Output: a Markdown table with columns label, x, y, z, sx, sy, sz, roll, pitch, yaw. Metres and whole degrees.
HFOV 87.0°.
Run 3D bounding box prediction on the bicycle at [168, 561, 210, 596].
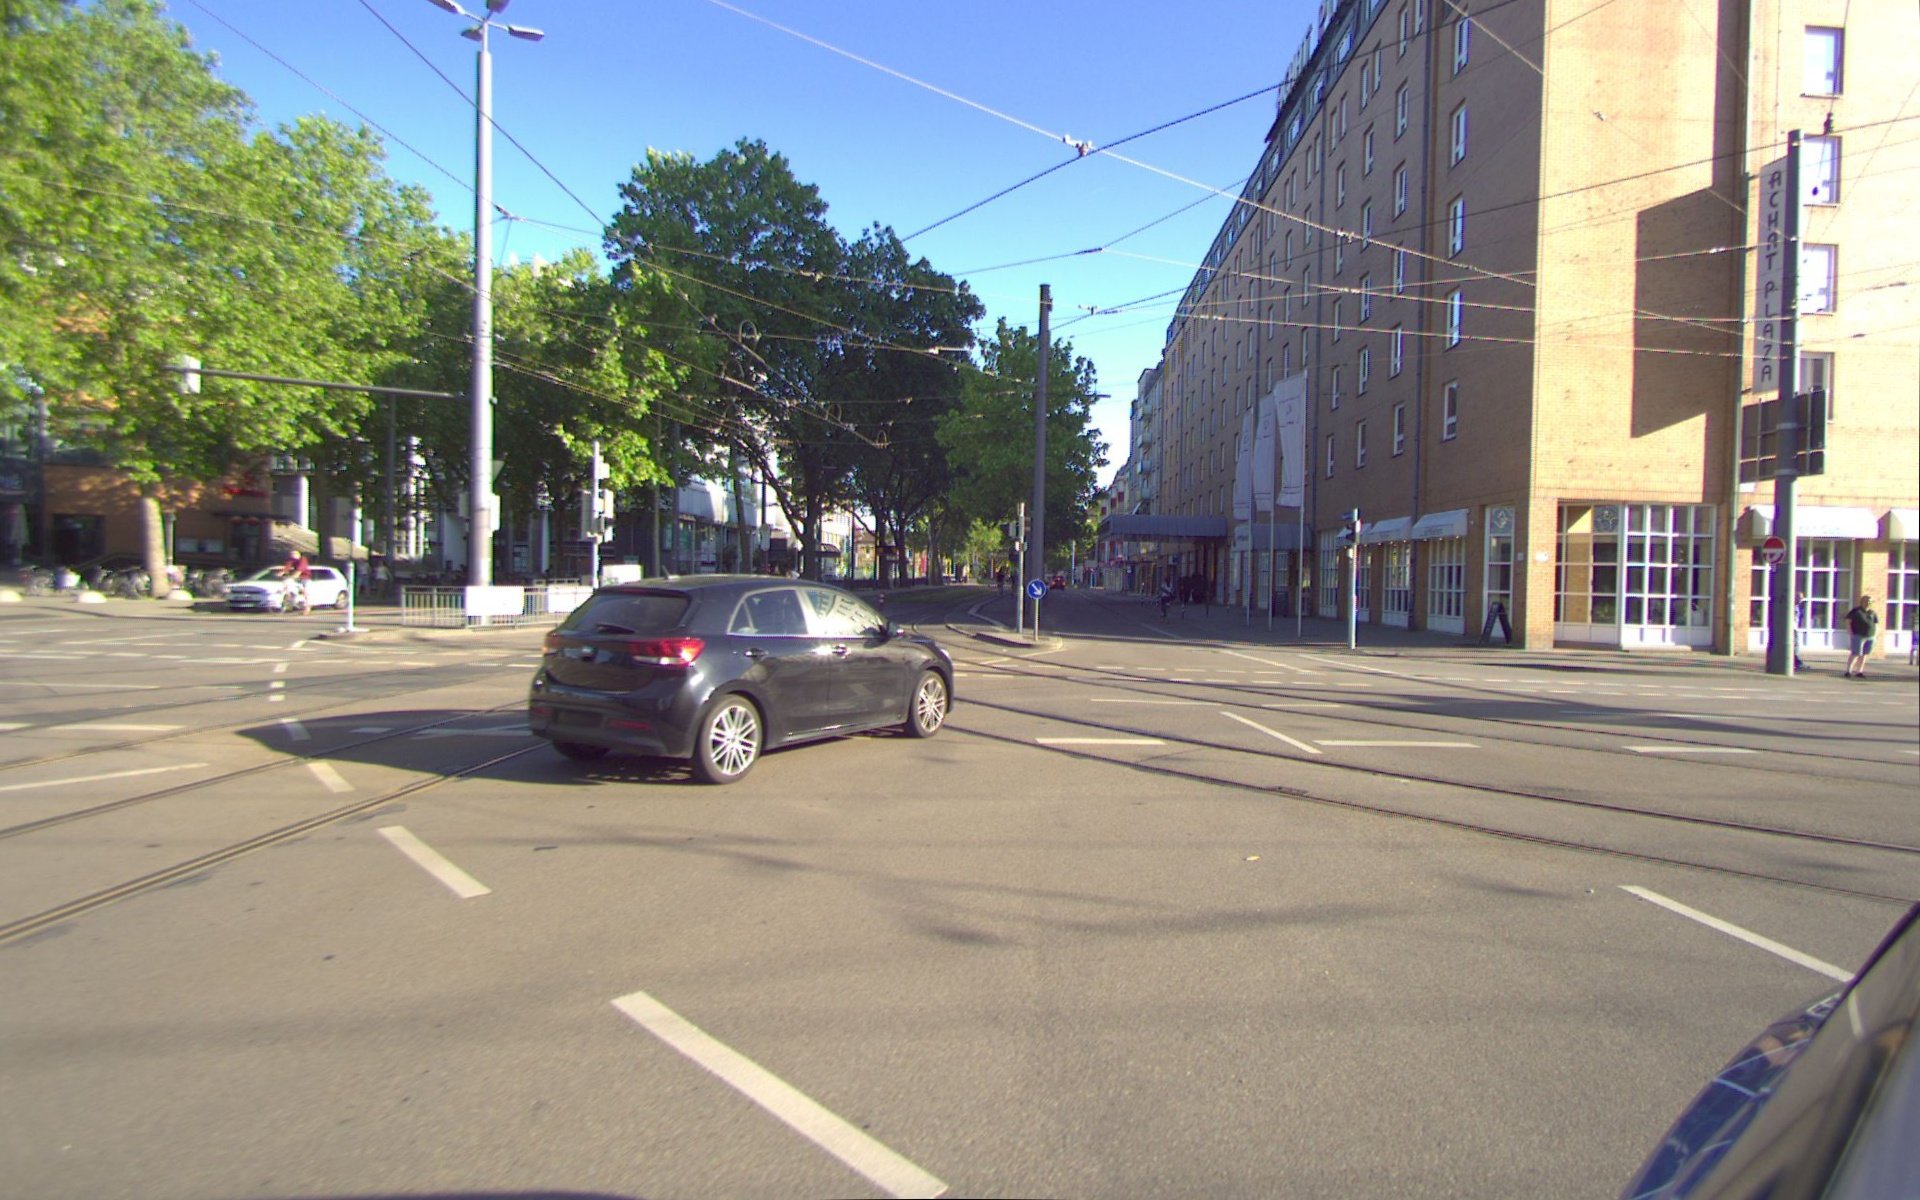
| label | x | y | z | sx | sy | sz | roll | pitch | yaw |
| --- | --- | --- | --- | --- | --- | --- | --- | --- | --- |
| bicycle | -28.710 | -0.827 | 37.709 | 0.860 | 1.250 | 2.936 | 0 | 2 | -30 |

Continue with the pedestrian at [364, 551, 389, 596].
| label | x | y | z | sx | sy | sz | roll | pitch | yaw |
| --- | --- | --- | --- | --- | --- | --- | --- | --- | --- |
| pedestrian | -23.536 | -1.079 | 40.837 | 0.630 | 1.798 | 0.618 | 0 | 1 | -3 |

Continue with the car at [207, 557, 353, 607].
| label | x | y | z | sx | sy | sz | roll | pitch | yaw |
| --- | --- | --- | --- | --- | --- | --- | --- | --- | --- |
| car | -21.703 | -0.565 | 32.498 | 1.963 | 1.505 | 3.999 | 0 | 0 | 1 |

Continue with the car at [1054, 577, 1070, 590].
| label | x | y | z | sx | sy | sz | roll | pitch | yaw |
| --- | --- | --- | --- | --- | --- | --- | --- | --- | --- |
| car | 13.145 | -2.123 | 130.327 | 1.893 | 1.690 | 3.751 | 2 | 1 | 6 |

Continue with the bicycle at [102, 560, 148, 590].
| label | x | y | z | sx | sy | sz | roll | pitch | yaw |
| --- | --- | --- | --- | --- | --- | --- | --- | --- | --- |
| bicycle | -31.974 | -0.966 | 38.770 | 0.860 | 1.105 | 2.936 | 0 | 2 | -30 |

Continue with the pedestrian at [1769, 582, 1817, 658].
| label | x | y | z | sx | sy | sz | roll | pitch | yaw |
| --- | --- | --- | --- | --- | --- | --- | --- | --- | --- |
| pedestrian | 19.477 | 0.450 | 23.673 | 0.591 | 1.749 | 0.604 | 0 | 0 | -2 |

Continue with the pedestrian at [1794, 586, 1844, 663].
| label | x | y | z | sx | sy | sz | roll | pitch | yaw |
| --- | --- | --- | --- | --- | --- | --- | --- | --- | --- |
| pedestrian | 19.527 | 0.554 | 23.008 | 0.646 | 1.725 | 0.563 | 0 | 0 | -2 |

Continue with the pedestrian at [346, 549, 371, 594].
| label | x | y | z | sx | sy | sz | roll | pitch | yaw |
| --- | --- | --- | --- | --- | --- | --- | --- | --- | --- |
| pedestrian | -24.285 | -1.134 | 40.880 | 0.630 | 1.798 | 0.618 | 0 | 1 | -3 |

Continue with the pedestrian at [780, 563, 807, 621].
| label | x | y | z | sx | sy | sz | roll | pitch | yaw |
| --- | --- | --- | --- | --- | --- | --- | --- | --- | --- |
| pedestrian | -4.586 | -0.223 | 27.866 | 0.727 | 1.559 | 0.653 | 0 | 0 | -11 |

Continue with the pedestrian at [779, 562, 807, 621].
| label | x | y | z | sx | sy | sz | roll | pitch | yaw |
| --- | --- | --- | --- | --- | --- | --- | --- | --- | --- |
| pedestrian | -4.477 | -0.230 | 27.160 | 0.727 | 1.559 | 0.678 | 0 | 0 | -11 |

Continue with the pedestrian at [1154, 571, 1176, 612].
| label | x | y | z | sx | sy | sz | roll | pitch | yaw |
| --- | --- | --- | --- | --- | --- | --- | --- | --- | --- |
| pedestrian | 8.126 | -0.350 | 40.149 | 0.759 | 1.614 | 0.836 | 0 | 0 | 8 |

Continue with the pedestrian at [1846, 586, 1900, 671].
| label | x | y | z | sx | sy | sz | roll | pitch | yaw |
| --- | --- | --- | --- | --- | --- | --- | --- | --- | --- |
| pedestrian | 19.865 | 0.608 | 22.024 | 0.687 | 1.790 | 0.569 | 1 | 0 | 24 |

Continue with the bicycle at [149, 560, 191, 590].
| label | x | y | z | sx | sy | sz | roll | pitch | yaw |
| --- | --- | --- | --- | --- | --- | --- | --- | --- | --- |
| bicycle | -30.553 | -0.974 | 39.176 | 0.860 | 1.105 | 2.936 | 0 | 2 | -30 |

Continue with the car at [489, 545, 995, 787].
| label | x | y | z | sx | sy | sz | roll | pitch | yaw |
| --- | --- | --- | --- | --- | --- | --- | --- | --- | --- |
| car | -1.502 | 0.332 | 8.552 | 1.783 | 1.484 | 4.265 | 2 | 2 | 30 |

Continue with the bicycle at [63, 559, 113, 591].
| label | x | y | z | sx | sy | sz | roll | pitch | yaw |
| --- | --- | --- | --- | --- | --- | --- | --- | --- | --- |
| bicycle | -32.255 | -0.943 | 37.471 | 0.860 | 1.105 | 2.936 | 0 | 2 | -30 |

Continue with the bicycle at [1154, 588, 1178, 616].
| label | x | y | z | sx | sy | sz | roll | pitch | yaw |
| --- | --- | --- | --- | --- | --- | --- | --- | --- | --- |
| bicycle | 8.133 | 0.079 | 40.080 | 0.779 | 1.065 | 1.919 | 0 | 0 | 7 |

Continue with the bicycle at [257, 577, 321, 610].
| label | x | y | z | sx | sy | sz | roll | pitch | yaw |
| --- | --- | --- | --- | --- | --- | --- | --- | --- | --- |
| bicycle | -19.783 | -0.213 | 29.893 | 0.640 | 0.921 | 1.859 | 0 | 1 | 1 |

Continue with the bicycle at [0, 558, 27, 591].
| label | x | y | z | sx | sy | sz | roll | pitch | yaw |
| --- | --- | --- | --- | --- | --- | --- | --- | --- | --- |
| bicycle | -33.632 | -0.924 | 35.544 | 2.918 | 1.105 | 0.865 | 2 | 2 | 39 |

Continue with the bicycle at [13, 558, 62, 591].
| label | x | y | z | sx | sy | sz | roll | pitch | yaw |
| --- | --- | --- | --- | --- | --- | --- | --- | --- | --- |
| bicycle | -33.161 | -0.932 | 36.357 | 2.918 | 1.105 | 0.865 | 2 | 2 | 39 |

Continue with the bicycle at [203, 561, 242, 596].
| label | x | y | z | sx | sy | sz | roll | pitch | yaw |
| --- | --- | --- | --- | --- | --- | --- | --- | --- | --- |
| bicycle | -27.842 | -0.823 | 38.246 | 0.860 | 1.250 | 2.936 | 0 | 2 | -30 |

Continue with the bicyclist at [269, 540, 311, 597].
| label | x | y | z | sx | sy | sz | roll | pitch | yaw |
| --- | --- | --- | --- | --- | --- | --- | --- | --- | --- |
| bicyclist | -19.784 | -0.926 | 29.898 | 0.625 | 1.635 | 0.928 | 0 | 1 | 1 |
